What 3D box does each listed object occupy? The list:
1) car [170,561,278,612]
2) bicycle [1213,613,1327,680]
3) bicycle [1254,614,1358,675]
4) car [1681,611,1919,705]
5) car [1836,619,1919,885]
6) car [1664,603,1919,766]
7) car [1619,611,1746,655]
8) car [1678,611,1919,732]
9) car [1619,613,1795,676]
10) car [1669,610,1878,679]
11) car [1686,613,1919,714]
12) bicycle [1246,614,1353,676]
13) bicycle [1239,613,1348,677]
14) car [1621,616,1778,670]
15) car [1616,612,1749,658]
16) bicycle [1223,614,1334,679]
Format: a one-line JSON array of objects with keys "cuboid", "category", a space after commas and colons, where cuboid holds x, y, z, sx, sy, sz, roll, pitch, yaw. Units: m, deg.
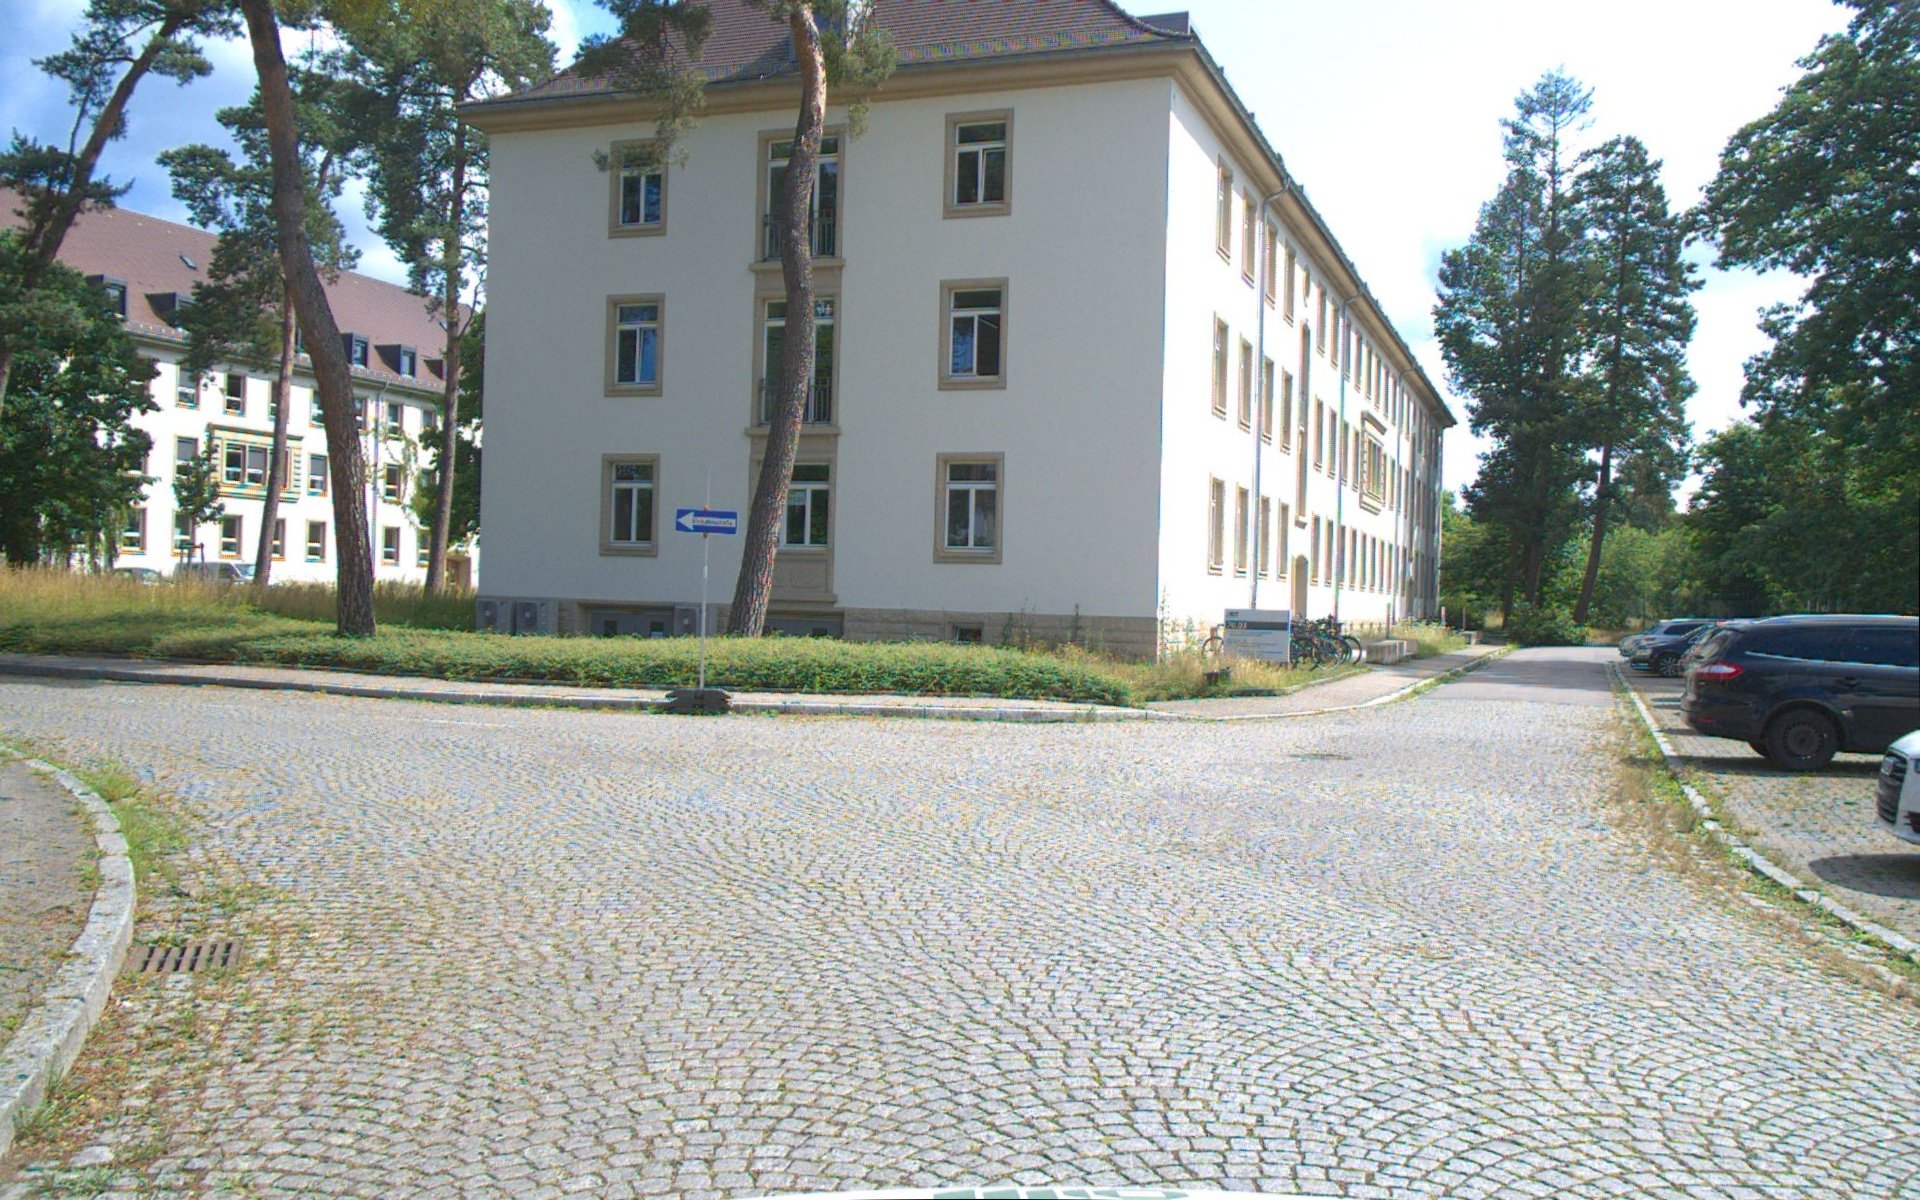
[{"cuboid": [-30.258, -0.562, 67.989, 3.976, 2.026, 1.713, 1, 0, 22], "category": "car"}, {"cuboid": [6.300, 0.928, 33.627, 2.179, 1.282, 0.622, 1, 0, 27], "category": "bicycle"}, {"cuboid": [7.716, 0.982, 36.946, 2.177, 1.282, 0.623, 1, 0, 23], "category": "bicycle"}, {"cuboid": [14.553, 0.959, 28.200, 4.102, 1.510, 1.759, 0, -1, 23], "category": "car"}, {"cuboid": [7.967, 0.892, 9.698, 4.761, 1.498, 1.875, 0, 0, 19], "category": "car"}, {"cuboid": [9.829, 0.834, 16.857, 4.751, 1.580, 1.880, 0, -1, 19], "category": "car"}, {"cuboid": [25.742, 1.178, 59.080, 4.102, 1.510, 1.819, 0, -1, 23], "category": "car"}, {"cuboid": [11.882, 0.918, 21.784, 4.307, 1.510, 1.766, 0, -1, 19], "category": "car"}, {"cuboid": [19.479, 1.153, 43.305, 4.102, 1.570, 1.819, 0, -1, 23], "category": "car"}, {"cuboid": [18.533, 0.988, 37.886, 4.179, 1.510, 1.819, 0, -1, 23], "category": "car"}, {"cuboid": [13.760, 0.977, 26.146, 4.122, 1.510, 1.819, 0, -1, 23], "category": "car"}, {"cuboid": [7.384, 0.972, 35.993, 2.177, 1.282, 0.623, 1, 0, 23], "category": "bicycle"}, {"cuboid": [7.094, 0.949, 35.186, 2.179, 1.282, 0.622, 1, 0, 27], "category": "bicycle"}, {"cuboid": [21.530, 1.249, 48.296, 4.102, 1.510, 1.819, 0, -1, 23], "category": "car"}, {"cuboid": [24.684, 1.190, 56.627, 4.102, 1.510, 1.819, 0, -1, 23], "category": "car"}, {"cuboid": [6.615, 0.951, 34.383, 2.177, 1.282, 0.623, 1, 0, 23], "category": "bicycle"}]
